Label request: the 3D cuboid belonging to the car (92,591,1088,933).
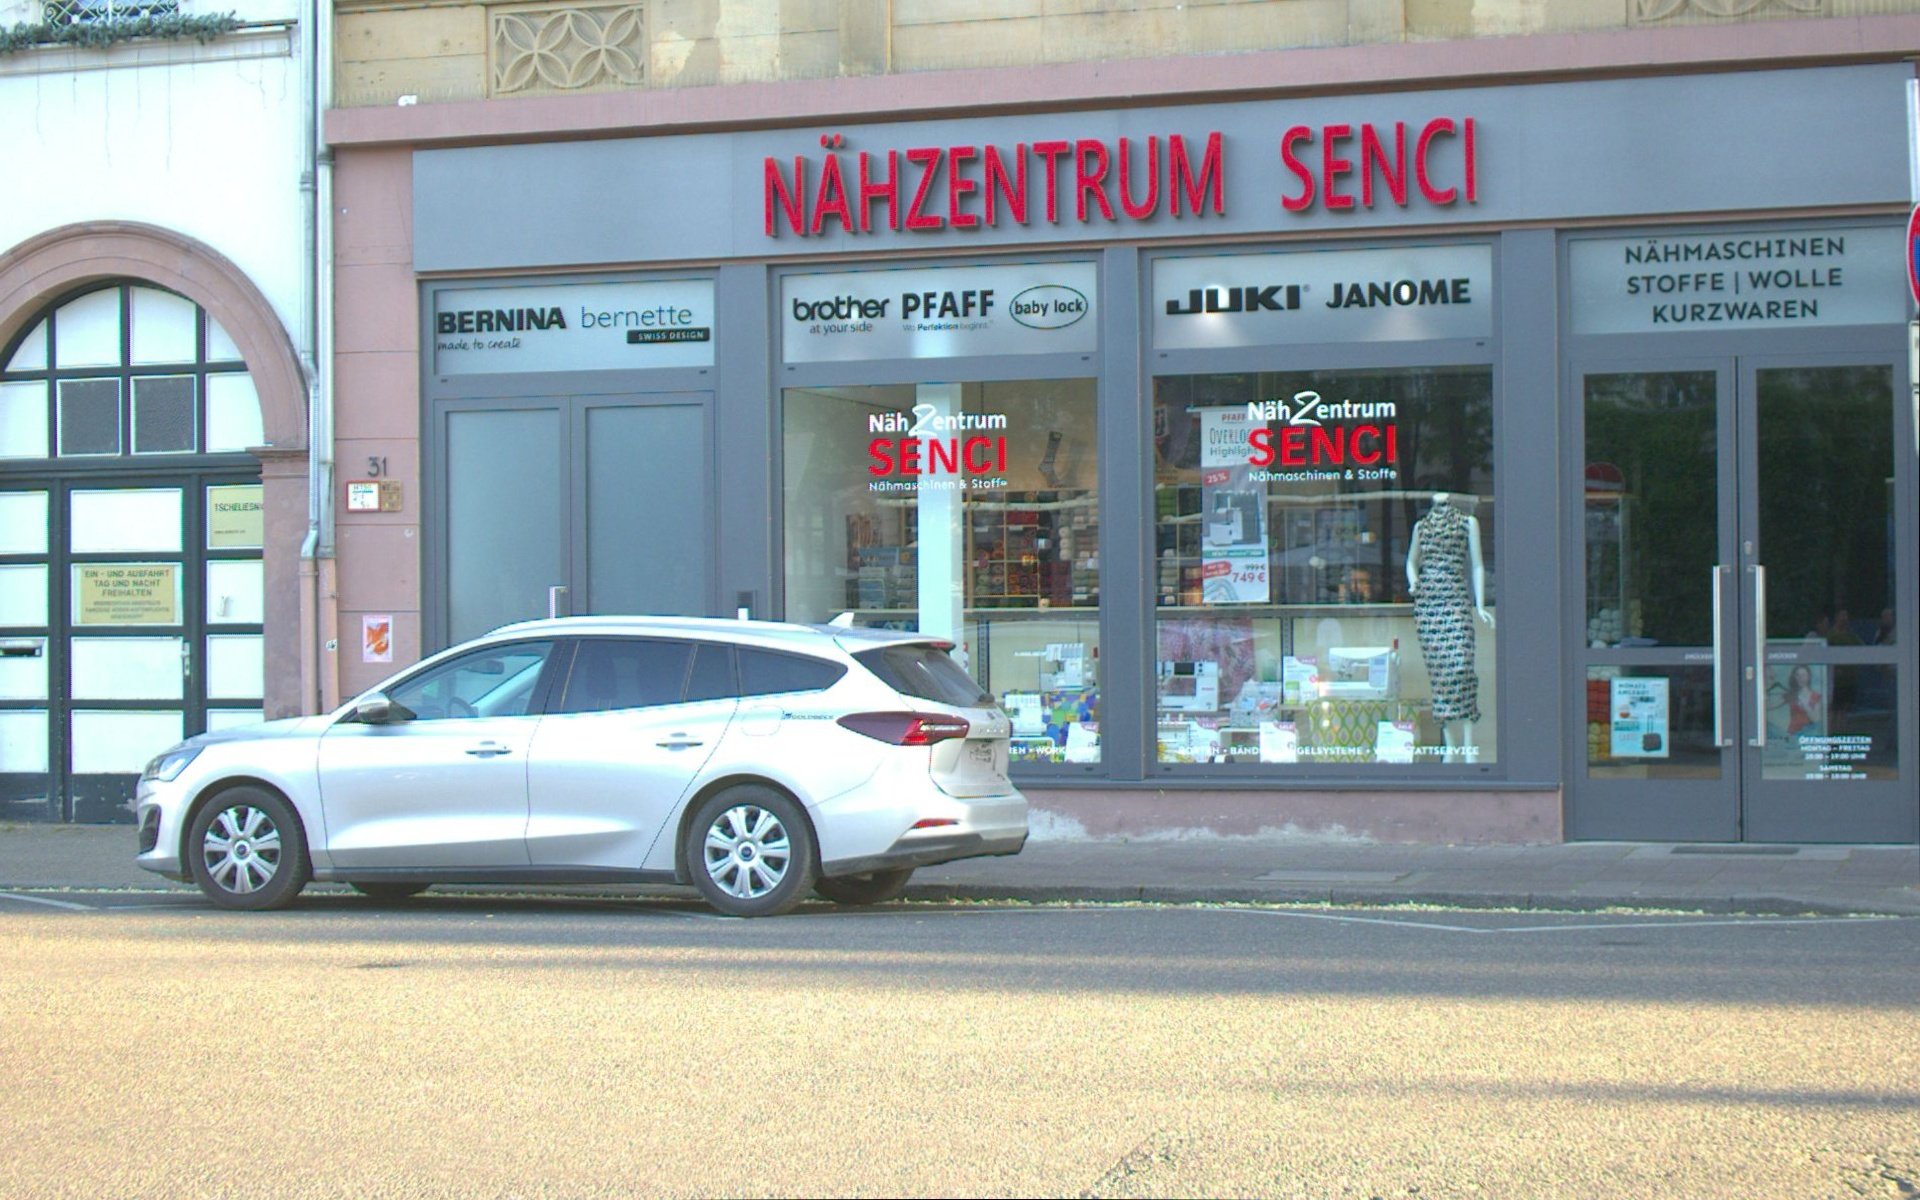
[{"bbox_3d":[-1.865,0.760,17.691,4.670,1.530,1.998,1,0,18],"label":"car"}]
